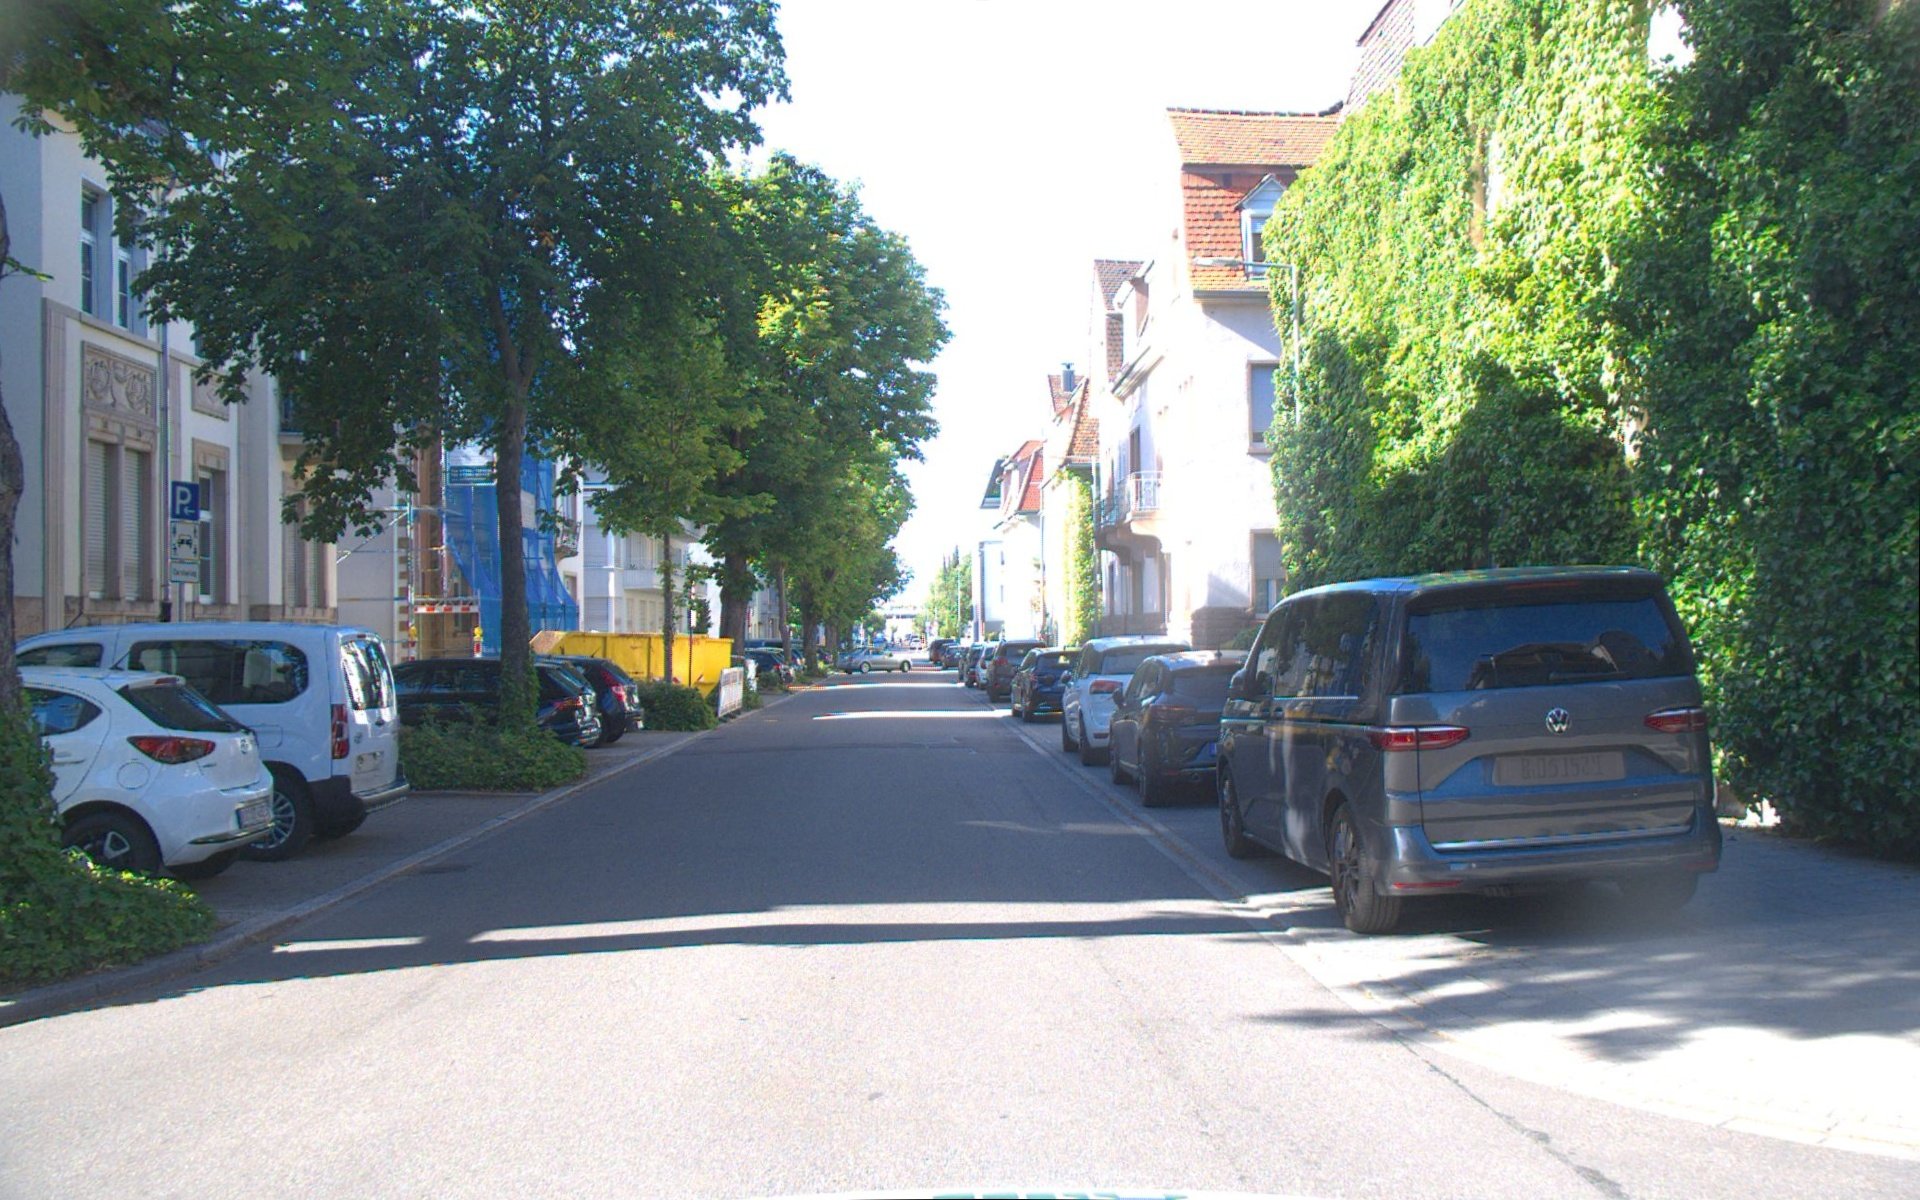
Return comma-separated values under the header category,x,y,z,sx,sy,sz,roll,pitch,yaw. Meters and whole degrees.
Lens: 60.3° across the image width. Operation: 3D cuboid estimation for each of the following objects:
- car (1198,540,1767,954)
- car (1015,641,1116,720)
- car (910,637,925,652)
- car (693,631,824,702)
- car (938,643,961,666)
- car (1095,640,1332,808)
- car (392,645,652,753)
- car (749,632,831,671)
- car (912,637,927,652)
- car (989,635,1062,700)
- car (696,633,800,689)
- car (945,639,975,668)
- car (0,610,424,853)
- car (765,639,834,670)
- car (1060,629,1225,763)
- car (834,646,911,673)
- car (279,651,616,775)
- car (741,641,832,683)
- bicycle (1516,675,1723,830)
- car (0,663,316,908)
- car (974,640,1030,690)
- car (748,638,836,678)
category,x,y,z,sx,sy,sz,roll,pitch,yaw
car,2.915,0.768,10.481,1.866,1.903,4.671,-4,-1,-2
car,2.099,1.605,33.817,1.735,1.480,3.865,-1,-1,-1
car,-4.893,5.116,190.949,1.735,1.660,3.865,-1,-1,-1
car,-6.278,2.048,51.318,3.915,2.049,1.995,-1,-2,-10
car,-0.857,4.216,128.111,1.735,1.660,3.865,-1,-1,-1
car,2.498,1.188,17.172,1.657,1.423,3.803,-4,-1,-2
car,-7.051,1.570,26.986,3.915,1.579,1.833,-1,-1,-10
car,-8.674,2.620,84.538,3.924,1.873,2.000,1,-1,0
car,-4.882,5.335,198.766,1.735,1.660,3.865,-1,-1,-1
car,1.743,1.802,45.096,1.735,1.660,3.865,-1,-1,-1
car,-8.243,2.367,64.266,3.915,2.049,1.995,-1,-2,-10
car,-0.026,3.196,99.529,1.735,1.660,3.865,-1,-1,-1
car,-6.573,1.022,13.366,3.910,1.792,1.795,1,-2,-6
car,-8.976,3.038,92.762,3.669,1.604,1.826,1,-1,0
car,2.406,1.249,22.711,1.753,1.646,3.865,-1,-1,-1
car,-4.811,3.274,91.287,3.951,1.434,1.682,0,-2,-34
car,-6.777,1.477,22.178,3.905,1.495,1.863,-1,-1,0
car,-7.886,2.795,75.386,3.924,1.765,1.894,1,-1,0
bicycle,5.092,1.138,12.963,0.576,1.041,2.369,-1,-1,-2
car,-6.625,1.172,11.063,3.910,1.490,1.795,1,-3,-6
car,1.427,2.227,57.483,1.735,1.660,3.865,-1,-1,-1
car,-7.878,2.722,77.865,3.924,1.765,1.894,1,-1,0
